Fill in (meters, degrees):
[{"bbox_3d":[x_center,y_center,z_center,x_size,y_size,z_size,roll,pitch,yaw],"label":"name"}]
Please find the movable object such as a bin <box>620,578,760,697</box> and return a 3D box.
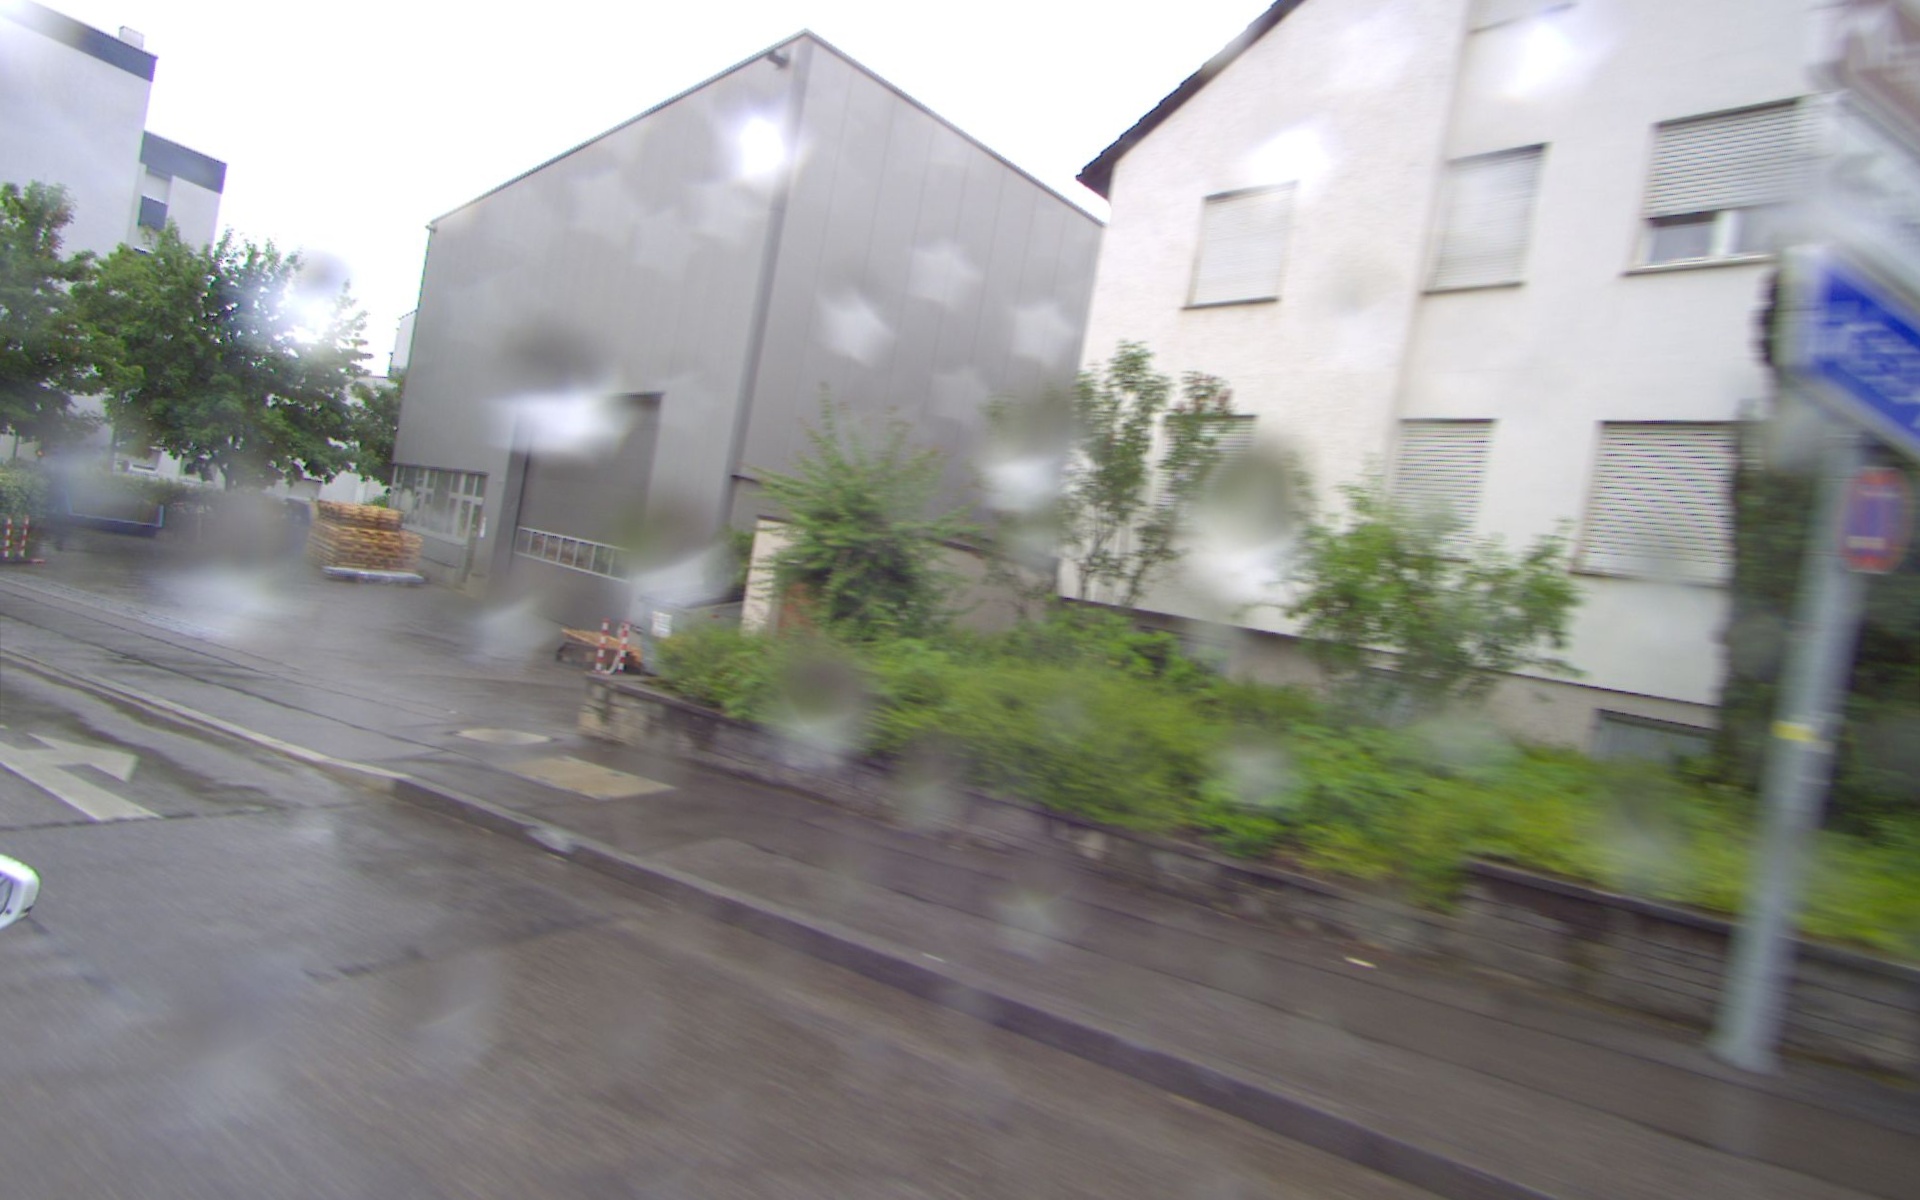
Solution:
[{"bbox_3d":[-4.152,0.561,15.400,1.258,1.537,1.757,7,1,-43],"label":"movable object such as a bin"}]
